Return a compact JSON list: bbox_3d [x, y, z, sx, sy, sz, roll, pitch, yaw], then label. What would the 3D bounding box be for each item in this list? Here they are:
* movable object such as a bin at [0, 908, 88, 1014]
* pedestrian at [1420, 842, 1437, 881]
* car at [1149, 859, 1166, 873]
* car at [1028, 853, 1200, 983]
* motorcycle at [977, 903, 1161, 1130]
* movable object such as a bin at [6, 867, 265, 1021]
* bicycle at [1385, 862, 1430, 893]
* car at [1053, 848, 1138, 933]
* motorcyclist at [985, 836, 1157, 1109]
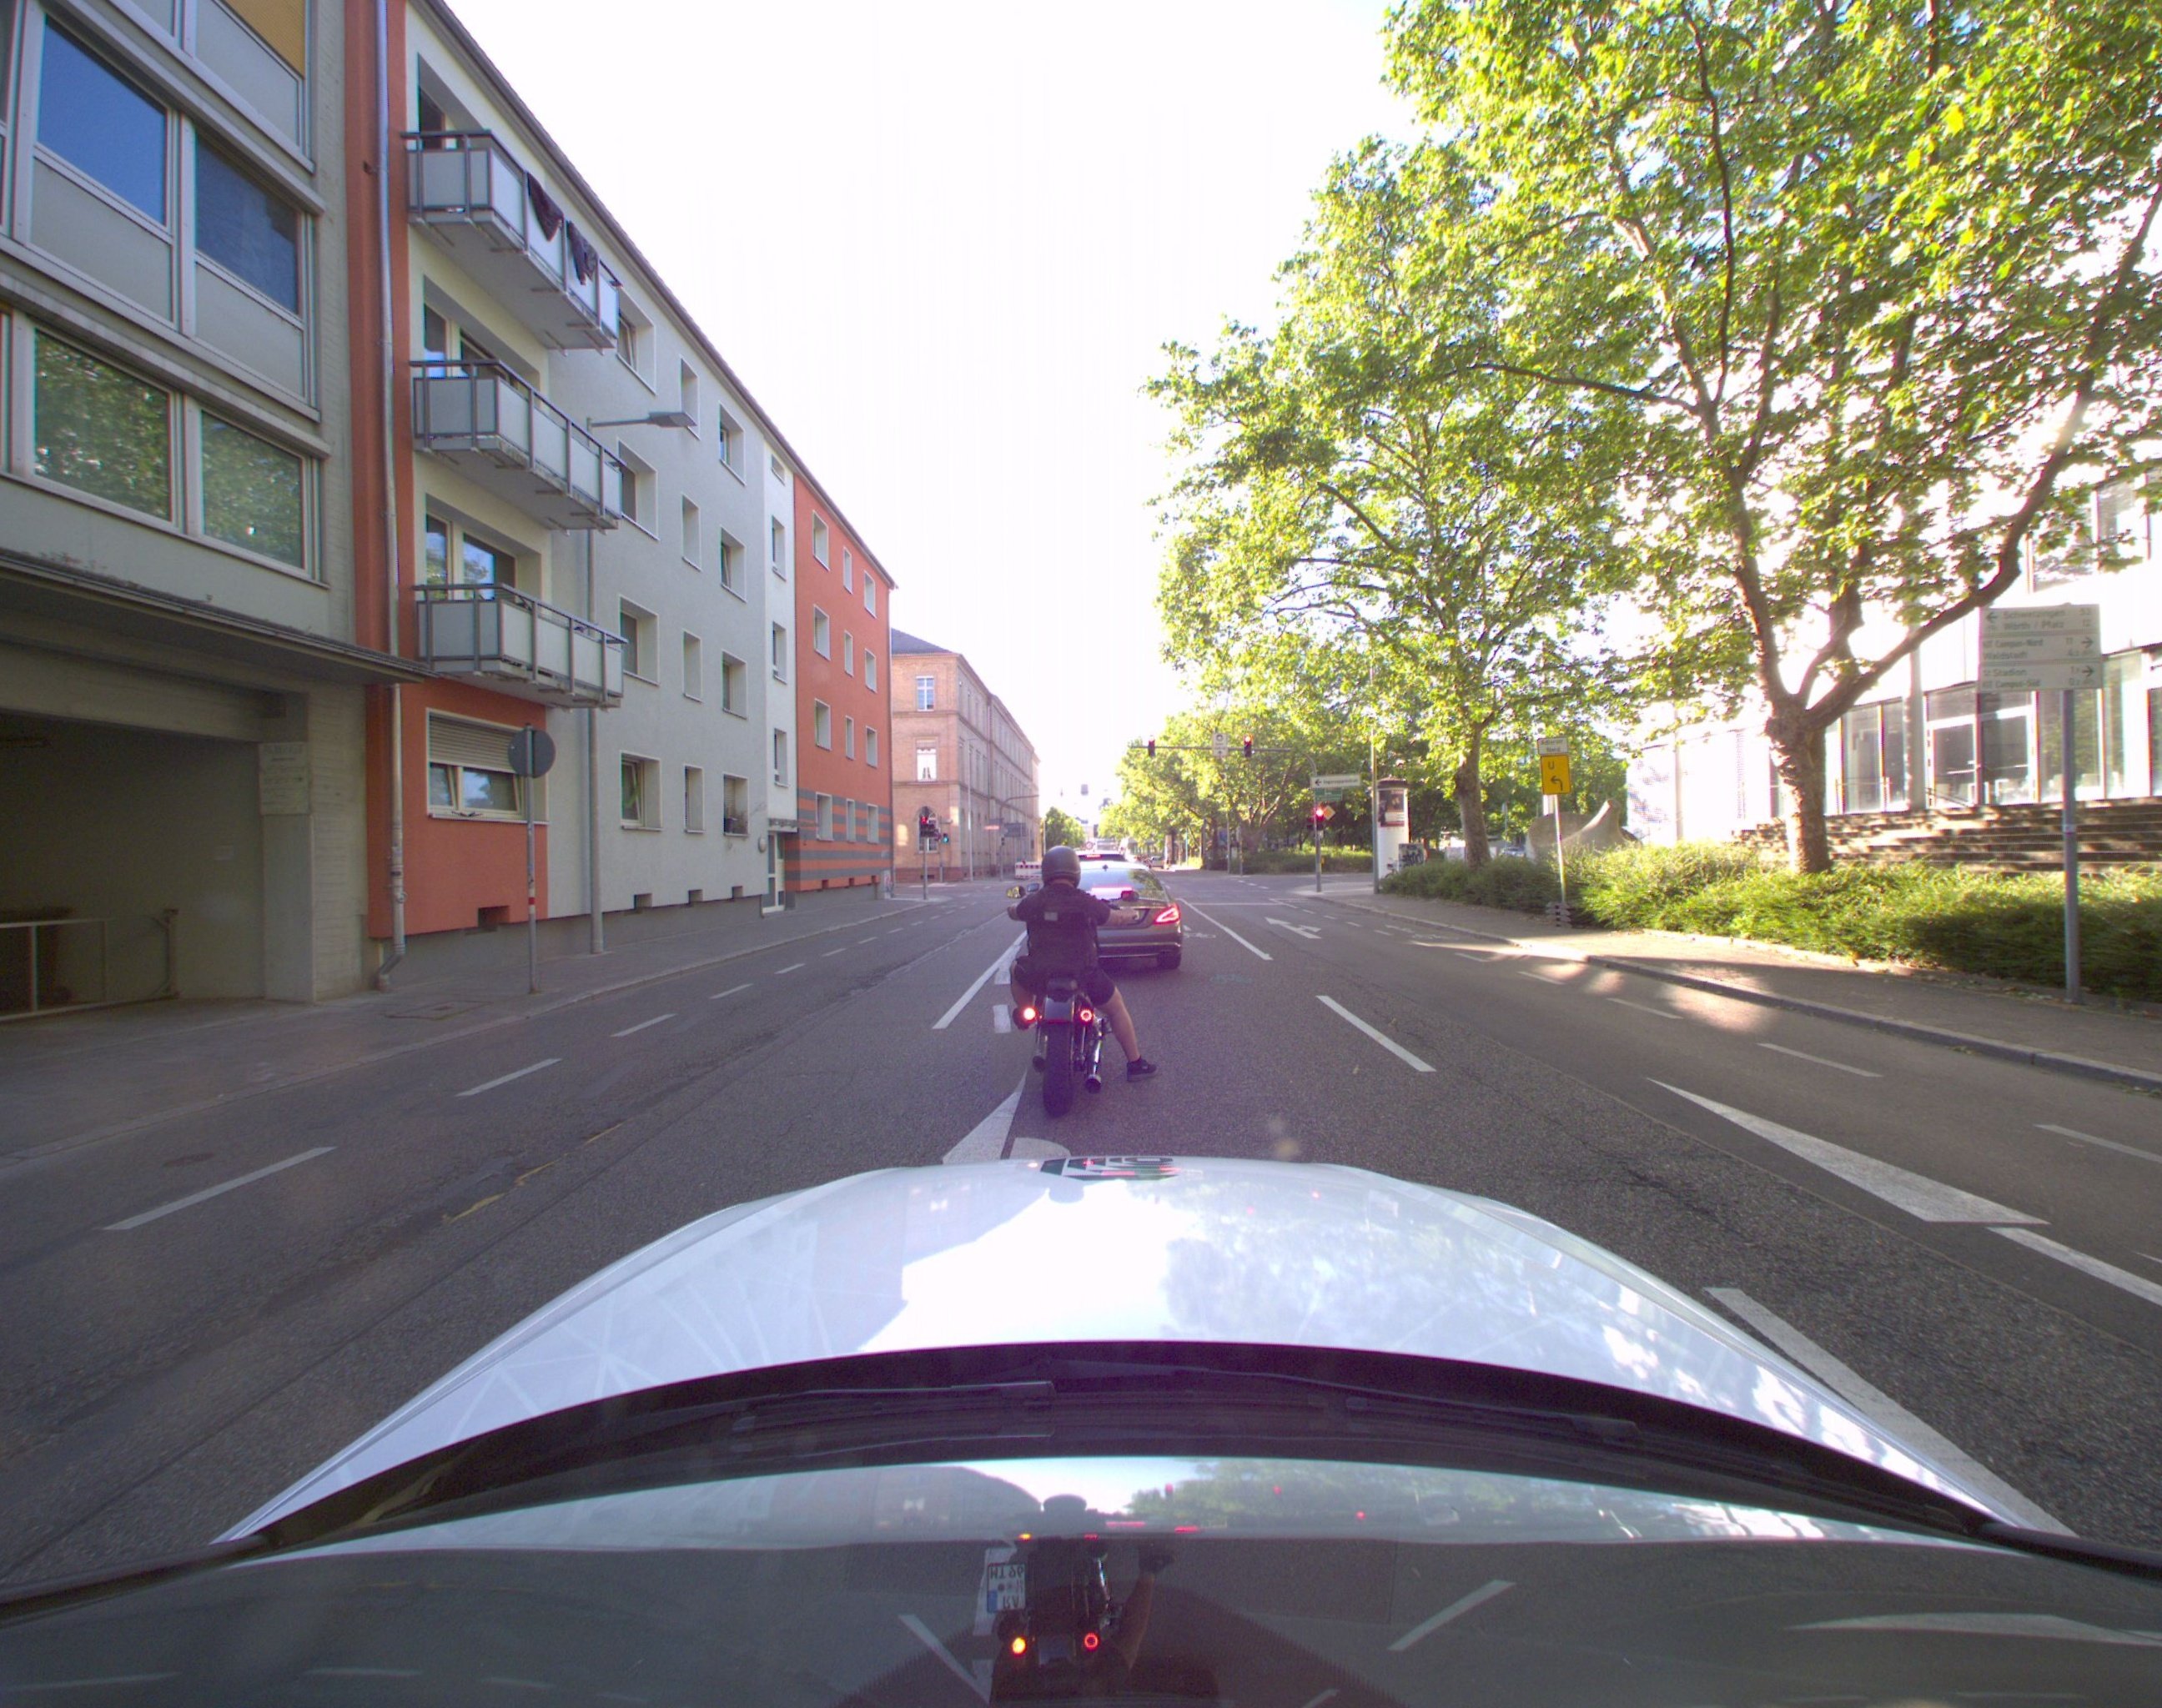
[{"bbox_3d":[-11.317,1.120,8.681,0.593,1.041,0.703,0,-1,1],"label":"movable object such as a bin"},{"bbox_3d":[16.386,0.349,38.426,0.549,1.849,0.594,-1,0,3],"label":"pedestrian"},{"bbox_3d":[8.888,1.361,94.928,1.814,1.481,3.911,-3,0,3],"label":"car"},{"bbox_3d":[0.256,0.747,11.718,1.943,1.473,4.355,-1,0,-5],"label":"car"},{"bbox_3d":[-0.029,0.963,5.680,0.986,1.078,2.453,-1,0,2],"label":"motorcycle"},{"bbox_3d":[-9.627,0.874,8.365,1.322,1.430,1.134,-1,0,3],"label":"movable object such as a bin"},{"bbox_3d":[11.033,0.795,27.504,1.346,1.023,0.363,-1,0,2],"label":"bicycle"},{"bbox_3d":[0.320,0.710,17.888,1.606,1.607,4.329,-1,0,1],"label":"car"},{"bbox_3d":[-0.037,0.704,5.527,0.986,1.597,1.404,-1,0,2],"label":"motorcyclist"}]
